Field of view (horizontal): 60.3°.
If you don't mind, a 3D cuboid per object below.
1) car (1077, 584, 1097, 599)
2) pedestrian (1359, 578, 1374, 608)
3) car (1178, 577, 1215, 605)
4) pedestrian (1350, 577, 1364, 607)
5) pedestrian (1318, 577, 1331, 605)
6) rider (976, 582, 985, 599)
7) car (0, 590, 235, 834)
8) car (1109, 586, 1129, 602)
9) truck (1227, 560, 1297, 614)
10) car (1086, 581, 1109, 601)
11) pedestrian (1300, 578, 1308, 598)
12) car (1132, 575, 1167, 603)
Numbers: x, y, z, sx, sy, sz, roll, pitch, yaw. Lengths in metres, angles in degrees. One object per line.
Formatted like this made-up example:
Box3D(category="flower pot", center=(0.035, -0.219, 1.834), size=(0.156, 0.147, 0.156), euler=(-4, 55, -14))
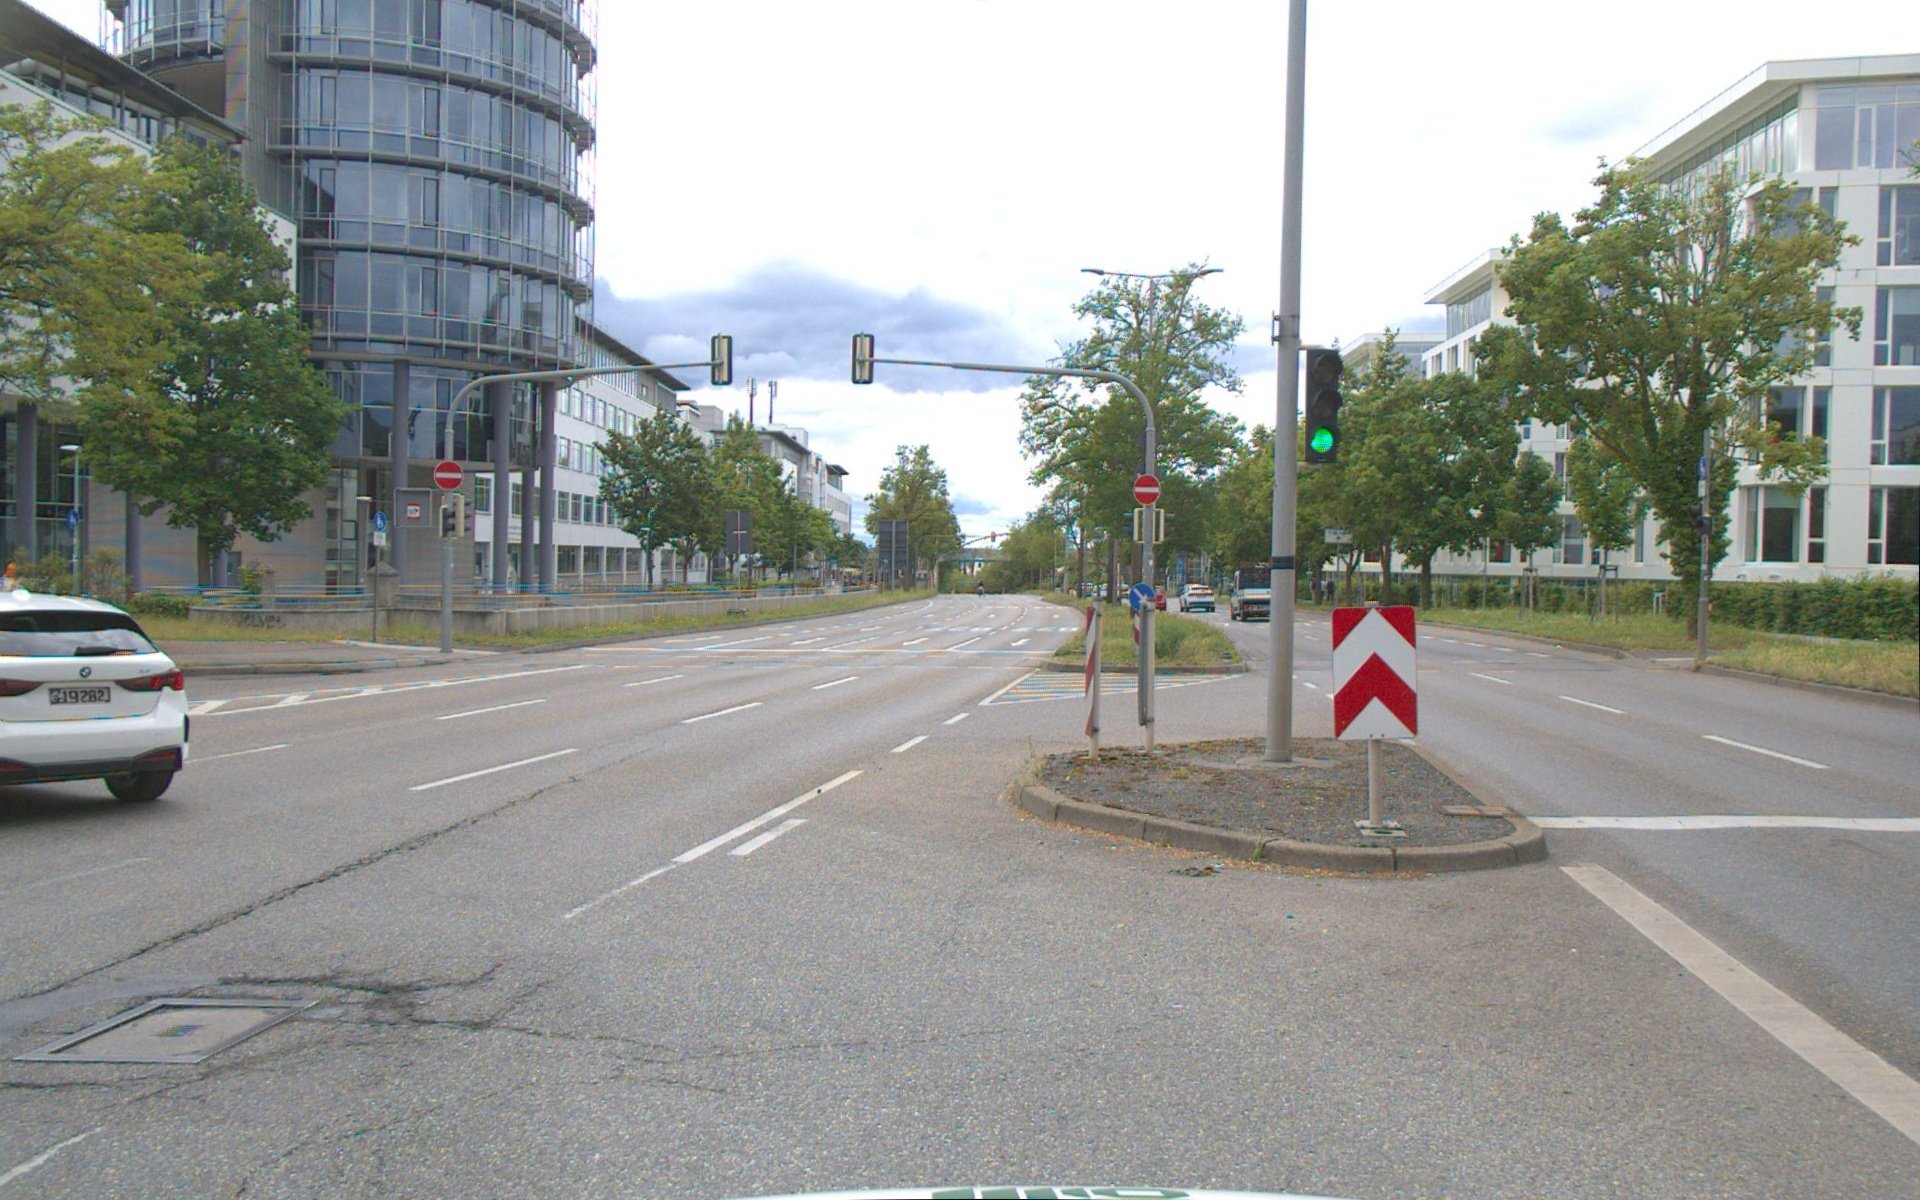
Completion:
Box3D(category="car", center=(13.395, -0.891, 174.421), size=(1.852, 1.624, 4.314), euler=(1, 0, 1))
Box3D(category="pedestrian", center=(27.679, -0.495, 112.660), size=(0.832, 2.049, 0.605), euler=(0, 0, -5))
Box3D(category="car", center=(13.704, -0.526, 95.882), size=(1.680, 1.583, 4.091), euler=(0, 0, 2))
Box3D(category="pedestrian", center=(27.651, -0.546, 115.262), size=(0.747, 2.049, 0.753), euler=(0, -1, -5))
Box3D(category="pedestrian", center=(26.870, -0.637, 122.009), size=(0.747, 2.049, 0.753), euler=(0, 0, -5))
Box3D(category="rider", center=(2.106, -0.997, 171.320), size=(0.828, 1.802, 0.808), euler=(0, -1, 2))
Box3D(category="car", center=(-7.015, 0.705, 11.575), size=(3.919, 1.463, 1.822), euler=(-1, -1, 35))
Box3D(category="car", center=(15.884, -0.595, 165.324), size=(1.816, 1.624, 4.315), euler=(0, 0, 2))
Box3D(category="truck", center=(13.087, -0.557, 71.976), size=(2.165, 2.242, 5.846), euler=(1, 0, 2))
Box3D(category="car", center=(11.227, -0.746, 135.193), size=(1.816, 1.624, 4.315), euler=(0, 0, 3))
Box3D(category="pedestrian", center=(28.129, -0.971, 135.164), size=(0.550, 1.586, 0.556), euler=(0, -1, -1))
Box3D(category="car", center=(10.970, -0.614, 95.806), size=(1.680, 1.585, 3.859), euler=(-1, 0, 1))
